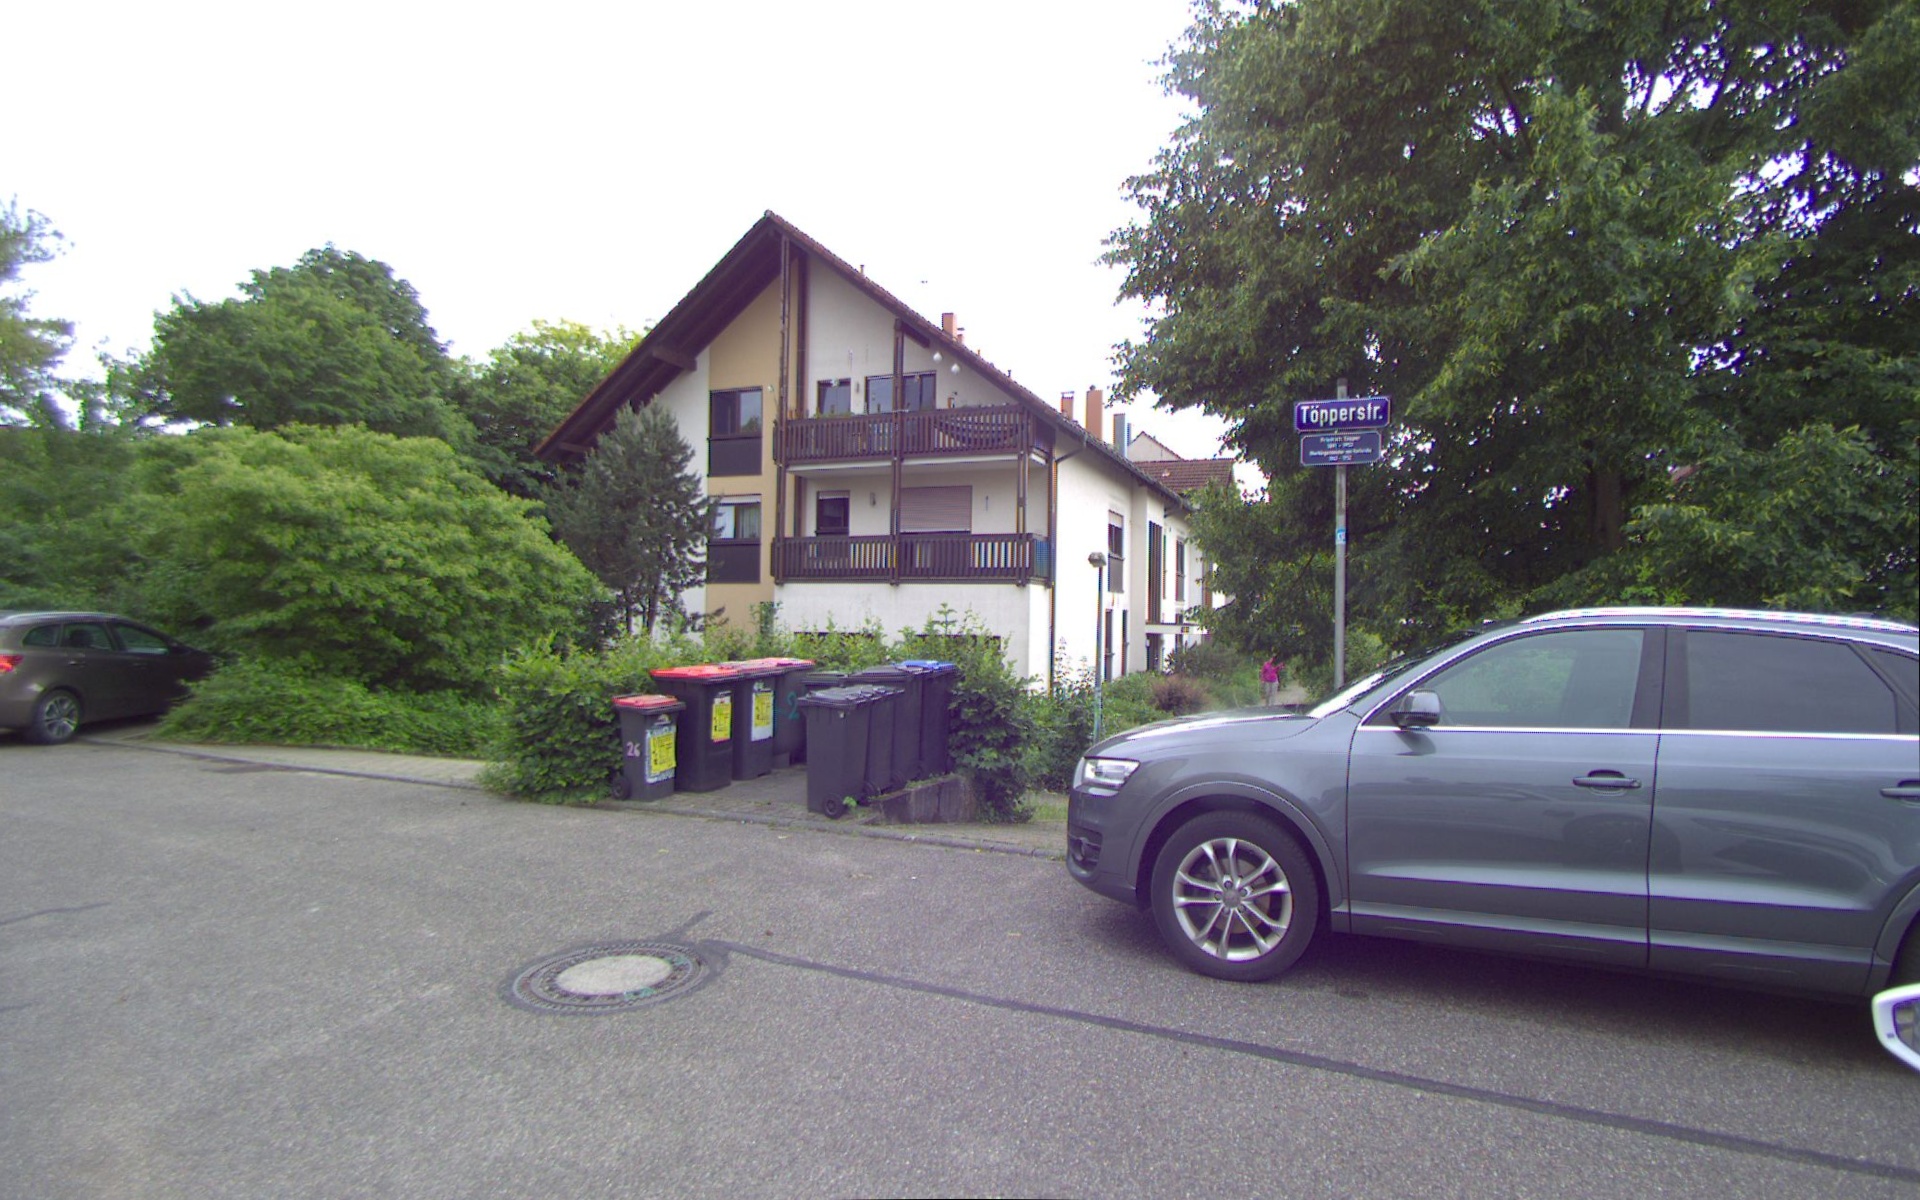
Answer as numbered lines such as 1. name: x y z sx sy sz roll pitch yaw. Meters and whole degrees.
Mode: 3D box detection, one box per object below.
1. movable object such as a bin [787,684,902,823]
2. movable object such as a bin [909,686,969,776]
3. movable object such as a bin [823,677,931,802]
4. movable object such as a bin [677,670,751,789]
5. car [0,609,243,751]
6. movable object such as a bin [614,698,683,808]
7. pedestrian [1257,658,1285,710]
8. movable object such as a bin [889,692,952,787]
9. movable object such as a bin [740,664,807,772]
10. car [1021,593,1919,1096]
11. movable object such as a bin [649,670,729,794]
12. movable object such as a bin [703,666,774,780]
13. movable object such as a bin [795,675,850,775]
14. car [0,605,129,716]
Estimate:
1. movable object such as a bin: -0.906 1.191 7.999 0.628 0.966 0.723 1 0 21
2. movable object such as a bin: -0.203 1.257 9.719 0.452 0.808 0.379 1 0 22
3. movable object such as a bin: -0.713 1.179 8.697 0.721 0.966 0.584 1 0 22
4. movable object such as a bin: -2.233 1.159 9.116 0.528 1.007 0.337 1 0 20
5. car: -11.143 0.877 12.499 1.668 1.510 3.999 1 -1 -3
6. movable object such as a bin: -2.606 1.274 8.427 0.379 0.848 0.379 1 0 20
7. pedestrian: 9.458 2.534 30.563 0.801 1.537 0.438 0 -1 20
8. movable object such as a bin: -0.363 1.287 9.330 0.452 0.808 0.379 1 0 22
9. movable object such as a bin: -1.840 1.155 9.947 0.528 1.007 0.337 1 0 20
10. car: 2.532 0.812 4.301 4.168 1.551 1.747 1 -3 22
11. movable object such as a bin: -2.360 1.137 8.765 0.528 1.007 0.379 1 0 20
12. movable object such as a bin: -2.083 1.143 9.439 0.528 1.007 0.337 1 0 20
13. movable object such as a bin: -1.335 1.206 9.795 0.379 0.913 0.379 1 0 20
14. car: -13.911 0.816 13.850 1.668 1.510 3.999 1 -1 -3
